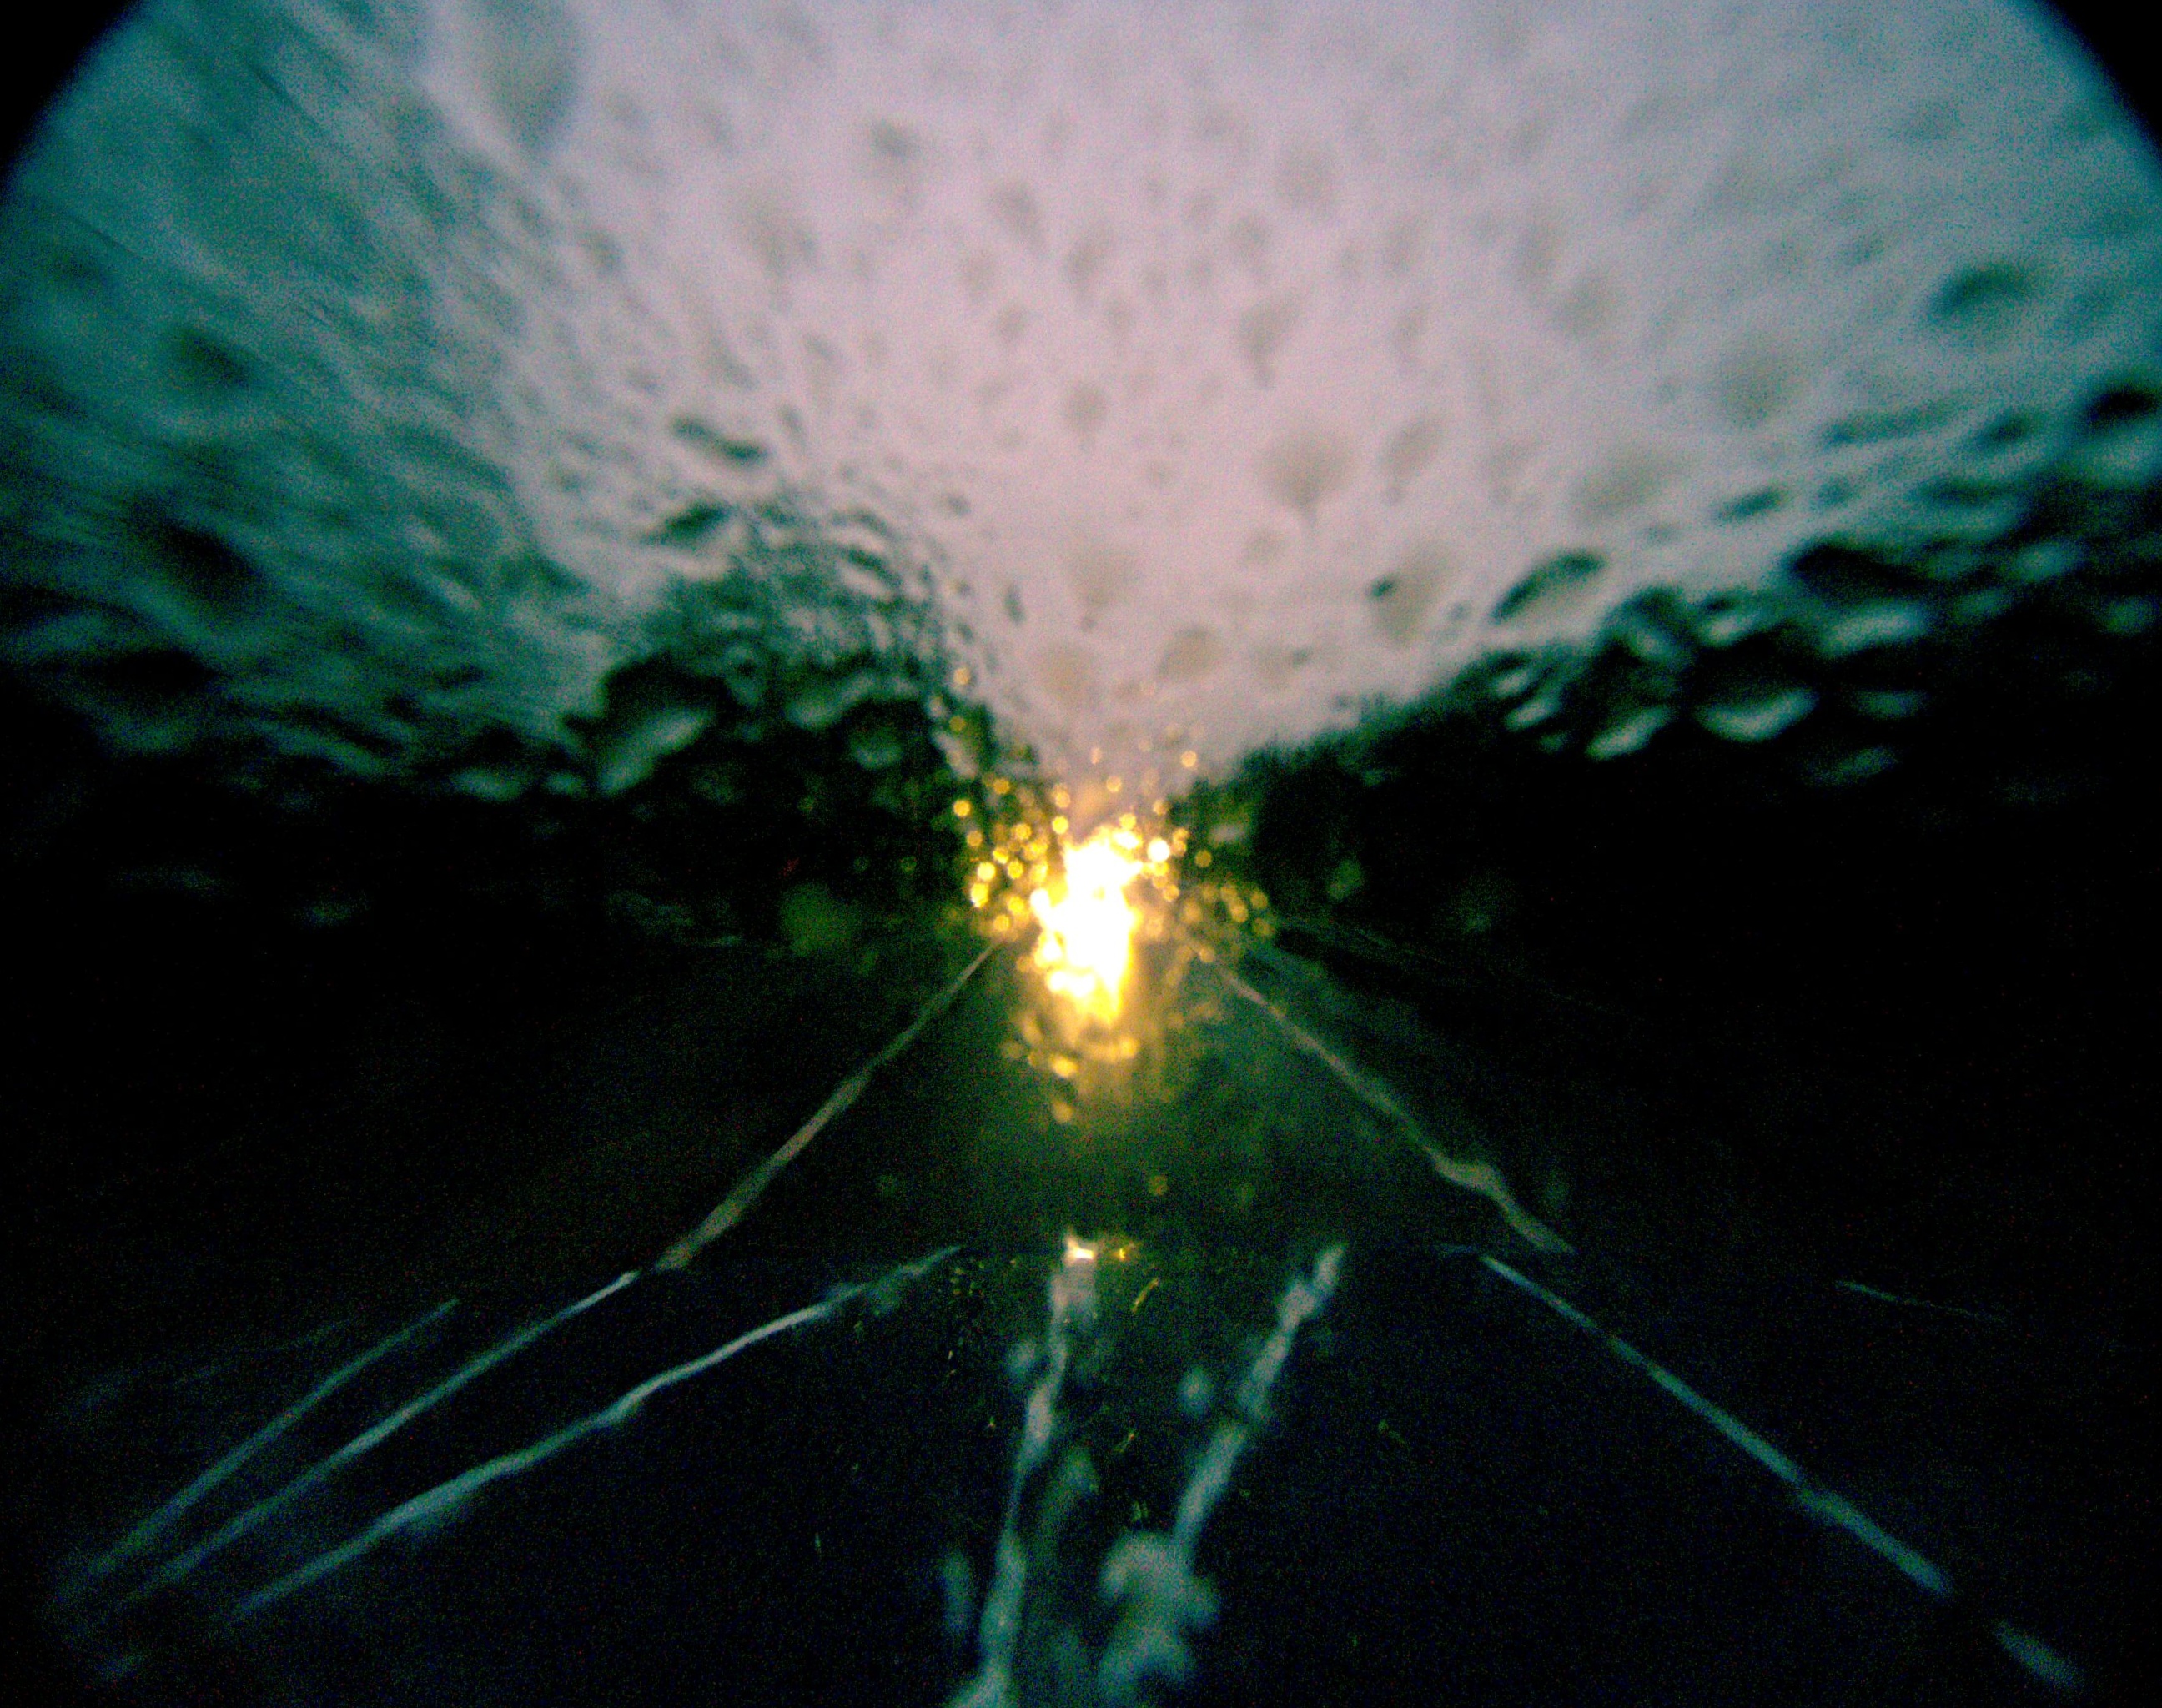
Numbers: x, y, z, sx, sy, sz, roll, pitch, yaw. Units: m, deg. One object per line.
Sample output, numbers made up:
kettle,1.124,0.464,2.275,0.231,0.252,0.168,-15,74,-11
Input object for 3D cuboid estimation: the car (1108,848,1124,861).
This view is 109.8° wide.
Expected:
car,4.454,0.088,96.071,1.753,1.543,3.993,-1,0,-1

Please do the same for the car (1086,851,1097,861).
car,1.778,0.377,130.557,1.753,1.643,4.000,0,0,1

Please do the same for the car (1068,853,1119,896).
car,0.511,0.810,32.575,1.998,1.672,4.000,-2,0,0
